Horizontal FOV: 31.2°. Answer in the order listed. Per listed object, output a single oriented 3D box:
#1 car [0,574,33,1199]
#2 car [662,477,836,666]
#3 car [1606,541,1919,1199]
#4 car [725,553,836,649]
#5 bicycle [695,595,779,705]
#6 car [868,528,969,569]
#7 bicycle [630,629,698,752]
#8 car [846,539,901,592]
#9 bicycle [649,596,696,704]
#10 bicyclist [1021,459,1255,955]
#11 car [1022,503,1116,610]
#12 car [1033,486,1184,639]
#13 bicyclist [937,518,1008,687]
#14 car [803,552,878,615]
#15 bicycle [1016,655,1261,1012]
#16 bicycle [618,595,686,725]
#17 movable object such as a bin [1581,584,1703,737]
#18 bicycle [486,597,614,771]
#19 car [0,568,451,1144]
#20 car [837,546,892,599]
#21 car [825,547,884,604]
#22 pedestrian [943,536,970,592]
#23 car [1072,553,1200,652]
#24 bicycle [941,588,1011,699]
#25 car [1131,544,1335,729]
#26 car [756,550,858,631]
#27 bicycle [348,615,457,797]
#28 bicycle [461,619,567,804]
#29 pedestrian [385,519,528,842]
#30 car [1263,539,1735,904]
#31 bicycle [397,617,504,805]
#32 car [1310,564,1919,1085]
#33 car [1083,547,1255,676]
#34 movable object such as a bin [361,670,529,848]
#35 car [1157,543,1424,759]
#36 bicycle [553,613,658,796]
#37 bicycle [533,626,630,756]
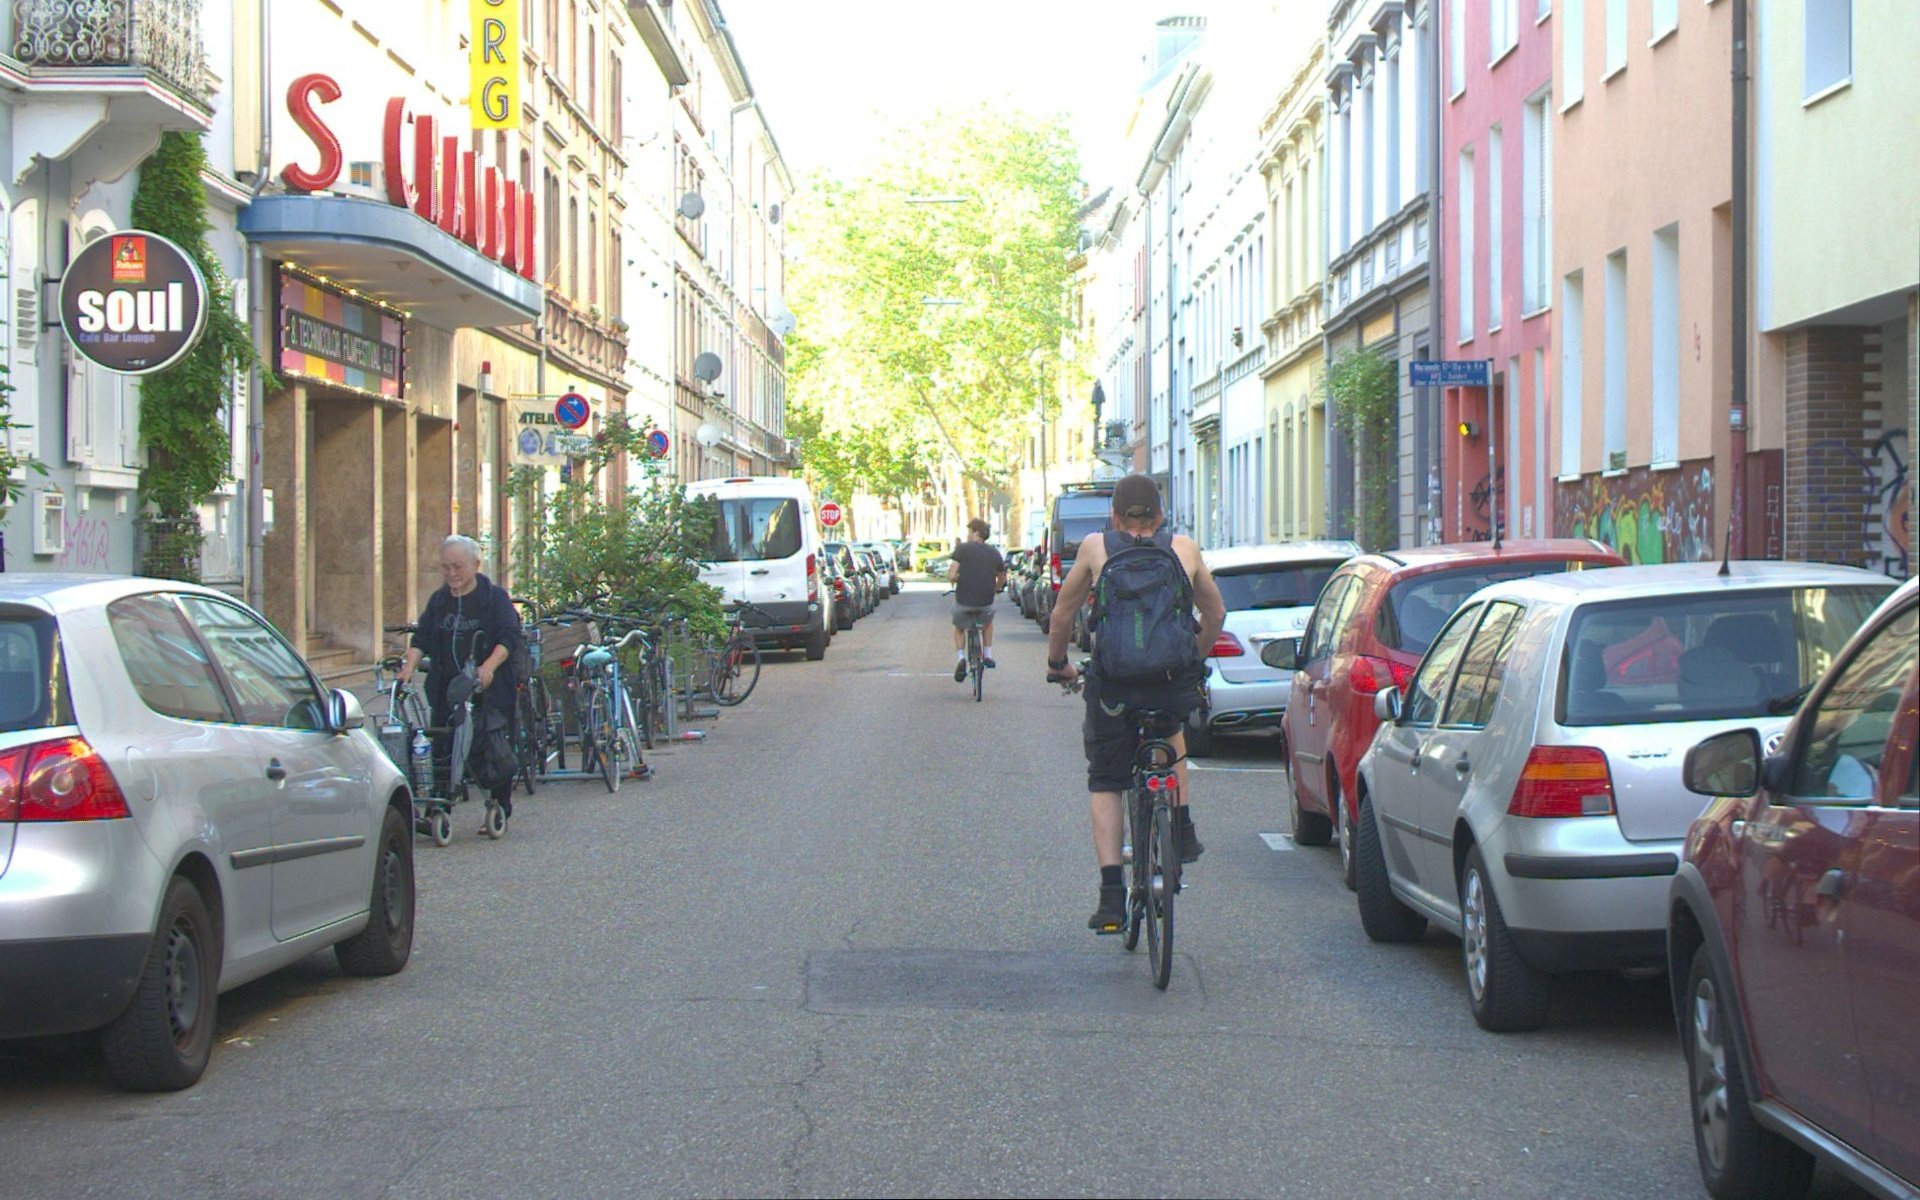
[{"bbox_3d":[-2.981,0.712,5.774,1.789,1.447,4.000,-1,1,-1],"label":"car"},{"bbox_3d":[-2.922,-0.429,48.868,2.168,2.443,5.922,-2,1,-1],"label":"car"},{"bbox_3d":[2.534,0.656,6.681,1.789,1.546,4.000,-1,1,0],"label":"car"},{"bbox_3d":[-2.835,-0.008,54.929,1.645,1.442,3.840,-1,1,-2],"label":"car"},{"bbox_3d":[-2.238,0.486,34.346,0.460,1.044,1.751,1,1,-16],"label":"bicycle"},{"bbox_3d":[-1.899,-2.338,156.128,4.468,1.753,1.867,-1,1,-4],"label":"car"},{"bbox_3d":[-2.334,0.705,27.187,0.390,0.913,1.393,-1,1,1],"label":"bicycle"},{"bbox_3d":[-2.930,-1.176,116.787,1.787,1.731,3.876,-1,1,0],"label":"car"},{"bbox_3d":[-2.956,0.503,35.416,0.442,1.044,1.865,1,1,-4],"label":"bicycle"},{"bbox_3d":[0.614,0.355,12.251,0.740,1.673,1.116,1,1,0],"label":"bicyclist"},{"bbox_3d":[2.726,-1.097,85.582,2.204,2.542,6.036,-1,1,2],"label":"car"},{"bbox_3d":[2.479,-0.662,58.984,2.175,2.417,6.309,-2,1,0],"label":"car"},{"bbox_3d":[0.127,0.019,34.295,0.670,1.653,0.877,-1,1,0],"label":"bicyclist"},{"bbox_3d":[-2.828,-0.411,82.217,1.592,1.435,3.654,-1,1,1],"label":"car"},{"bbox_3d":[0.604,0.783,12.320,0.740,1.097,2.042,1,1,0],"label":"bicycle"},{"bbox_3d":[-2.753,0.520,30.818,0.546,1.090,1.882,1,1,-4],"label":"bicycle"},{"bbox_3d":[4.960,0.433,25.034,0.692,1.054,0.736,-3,1,1],"label":"movable object such as a bin"},{"bbox_3d":[-2.846,0.575,23.923,0.812,1.171,0.920,0,1,-2],"label":"bicycle"},{"bbox_3d":[-2.896,0.667,10.977,1.681,1.450,4.033,-2,1,3],"label":"car"},{"bbox_3d":[-2.923,-0.846,104.587,1.544,1.545,3.465,-1,1,-3],"label":"car"},{"bbox_3d":[-2.987,-0.711,97.213,1.604,1.525,3.379,-2,1,-2],"label":"car"},{"bbox_3d":[-0.109,-1.186,112.682,0.785,1.811,0.651,1,1,-6],"label":"pedestrian"},{"bbox_3d":[2.659,0.009,52.760,1.747,1.439,4.172,0,1,0],"label":"car"},{"bbox_3d":[0.153,0.418,34.314,0.664,1.034,1.959,-1,1,0],"label":"bicycle"},{"bbox_3d":[2.475,0.293,31.802,1.602,1.534,3.450,-3,1,1],"label":"car"},{"bbox_3d":[-2.923,-0.214,66.218,1.862,1.435,4.646,-1,1,-2],"label":"car"},{"bbox_3d":[-3.626,0.668,22.433,0.443,1.102,1.698,0,1,0],"label":"bicycle"},{"bbox_3d":[-2.878,0.698,22.312,0.443,1.102,1.932,0,1,0],"label":"bicycle"},{"bbox_3d":[-2.708,0.426,18.539,0.713,1.702,0.672,1,0,-6],"label":"pedestrian"},{"bbox_3d":[2.494,0.489,16.777,1.697,1.518,3.980,-2,1,1],"label":"car"},{"bbox_3d":[-3.228,0.680,21.874,0.443,1.102,1.874,0,1,-1],"label":"bicycle"},{"bbox_3d":[2.368,0.637,12.196,1.688,1.448,4.194,-2,1,-1],"label":"car"},{"bbox_3d":[2.610,0.107,43.863,1.786,1.449,4.547,-3,1,-1],"label":"car"},{"bbox_3d":[-2.694,0.828,18.024,0.844,0.894,0.586,1,0,-7],"label":"movable object such as a bin"},{"bbox_3d":[2.514,0.334,26.986,1.746,1.550,4.171,-1,1,1],"label":"car"},{"bbox_3d":[-2.291,0.656,22.342,0.499,1.102,1.830,0,1,0],"label":"bicycle"},{"bbox_3d":[-2.942,0.693,26.841,0.554,0.941,1.571,-1,1,1],"label":"bicycle"}]
